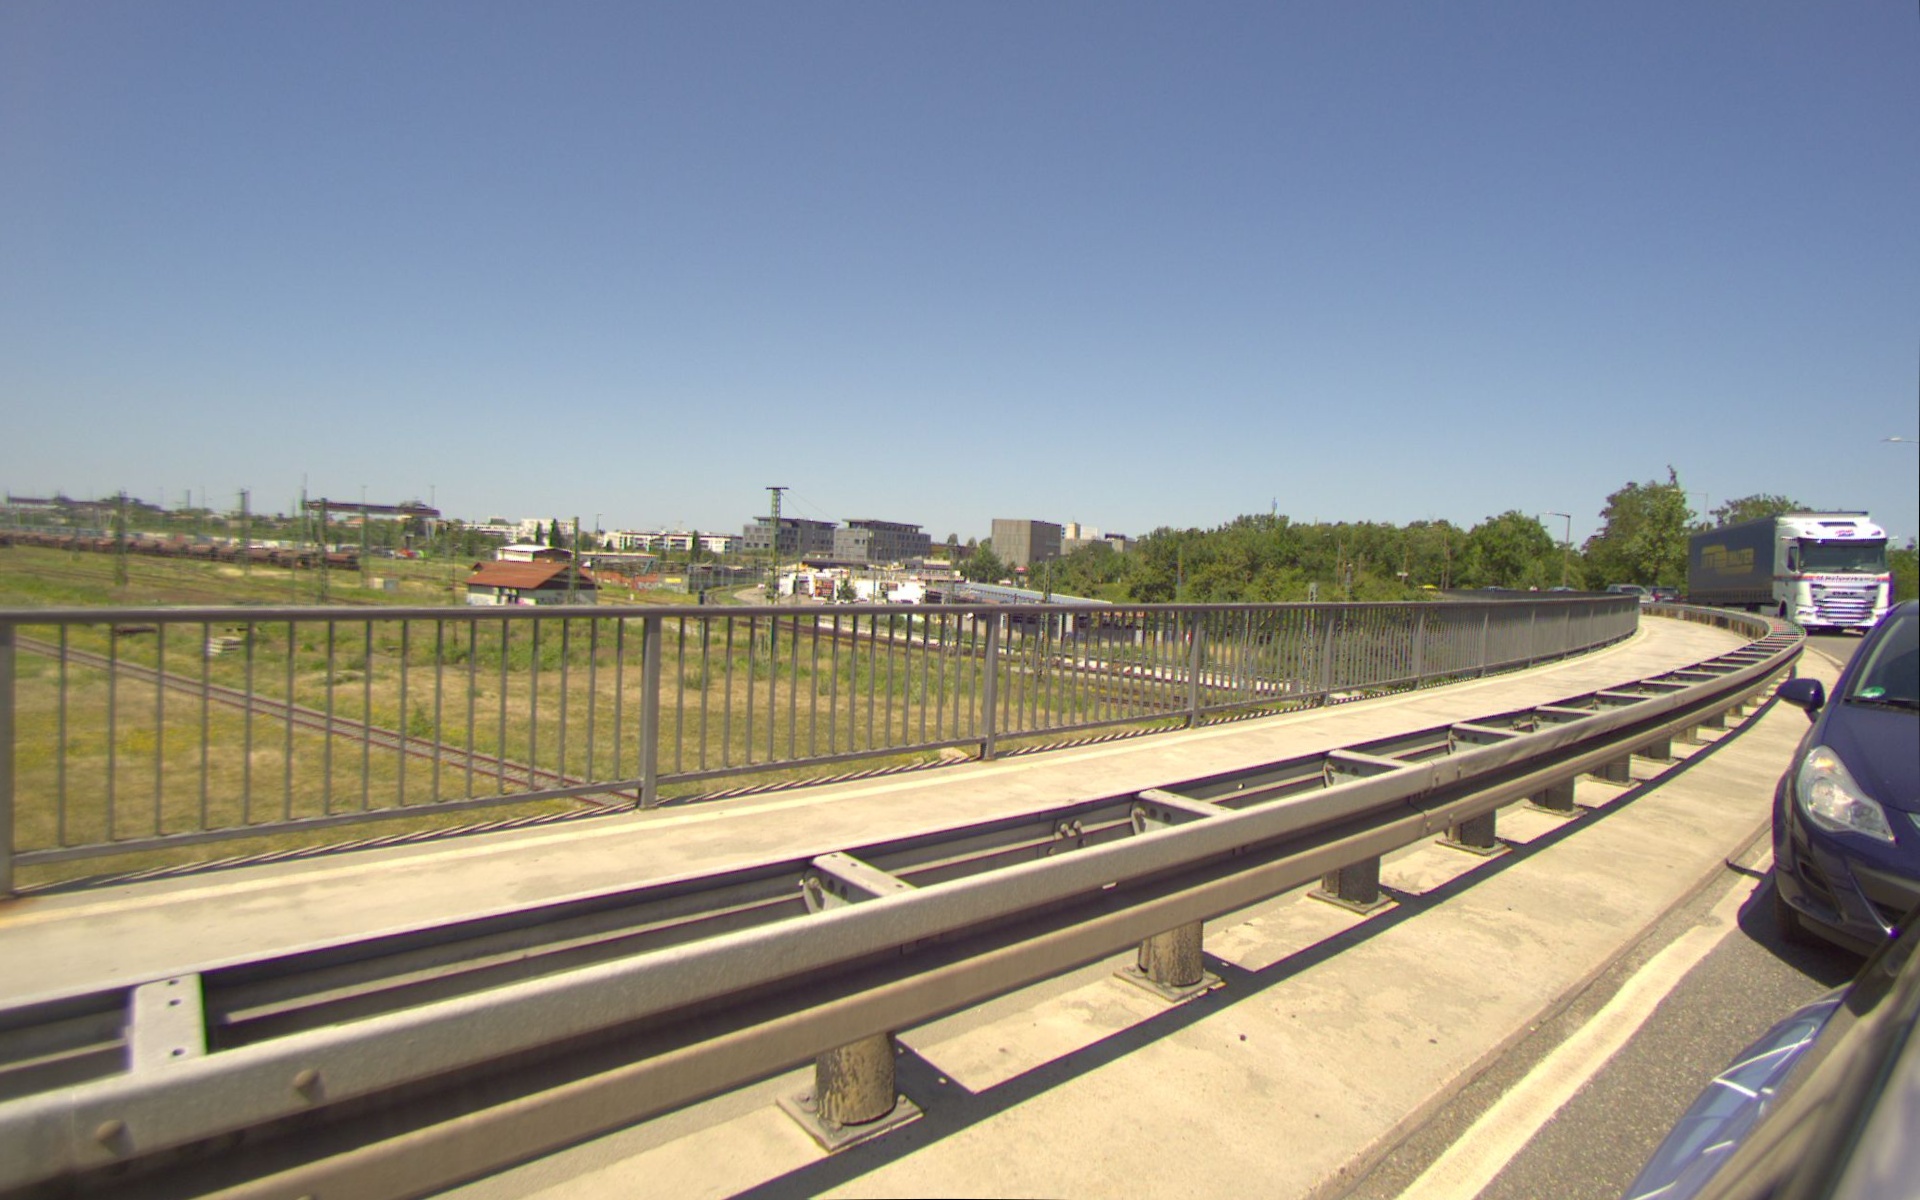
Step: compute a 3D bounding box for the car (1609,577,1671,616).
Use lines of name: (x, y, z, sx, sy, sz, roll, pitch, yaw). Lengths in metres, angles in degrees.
car: (41.439, -0.180, 61.774, 1.973, 2.040, 3.974, -3, -4, 18)

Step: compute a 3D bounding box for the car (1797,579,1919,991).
car: (5.118, 0.645, 4.631, 1.641, 1.457, 3.936, 1, 1, 45)

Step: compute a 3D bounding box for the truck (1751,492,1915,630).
truck: (29.935, -1.285, 35.039, 2.670, 4.281, 6.777, 0, 1, 27)

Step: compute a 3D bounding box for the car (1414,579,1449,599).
car: (49.593, -1.189, 106.556, 1.964, 2.039, 3.997, 0, 1, 4)

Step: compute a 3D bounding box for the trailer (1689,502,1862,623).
trailer: (33.276, -1.473, 41.946, 2.674, 4.287, 12.604, 0, 1, 25)

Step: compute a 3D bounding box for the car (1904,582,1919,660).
car: (18.627, 0.405, 18.304, 1.785, 1.473, 4.463, 0, 0, 37)

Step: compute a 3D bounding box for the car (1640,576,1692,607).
car: (47.559, -0.563, 68.250, 1.976, 2.039, 3.971, 0, 0, 21)
